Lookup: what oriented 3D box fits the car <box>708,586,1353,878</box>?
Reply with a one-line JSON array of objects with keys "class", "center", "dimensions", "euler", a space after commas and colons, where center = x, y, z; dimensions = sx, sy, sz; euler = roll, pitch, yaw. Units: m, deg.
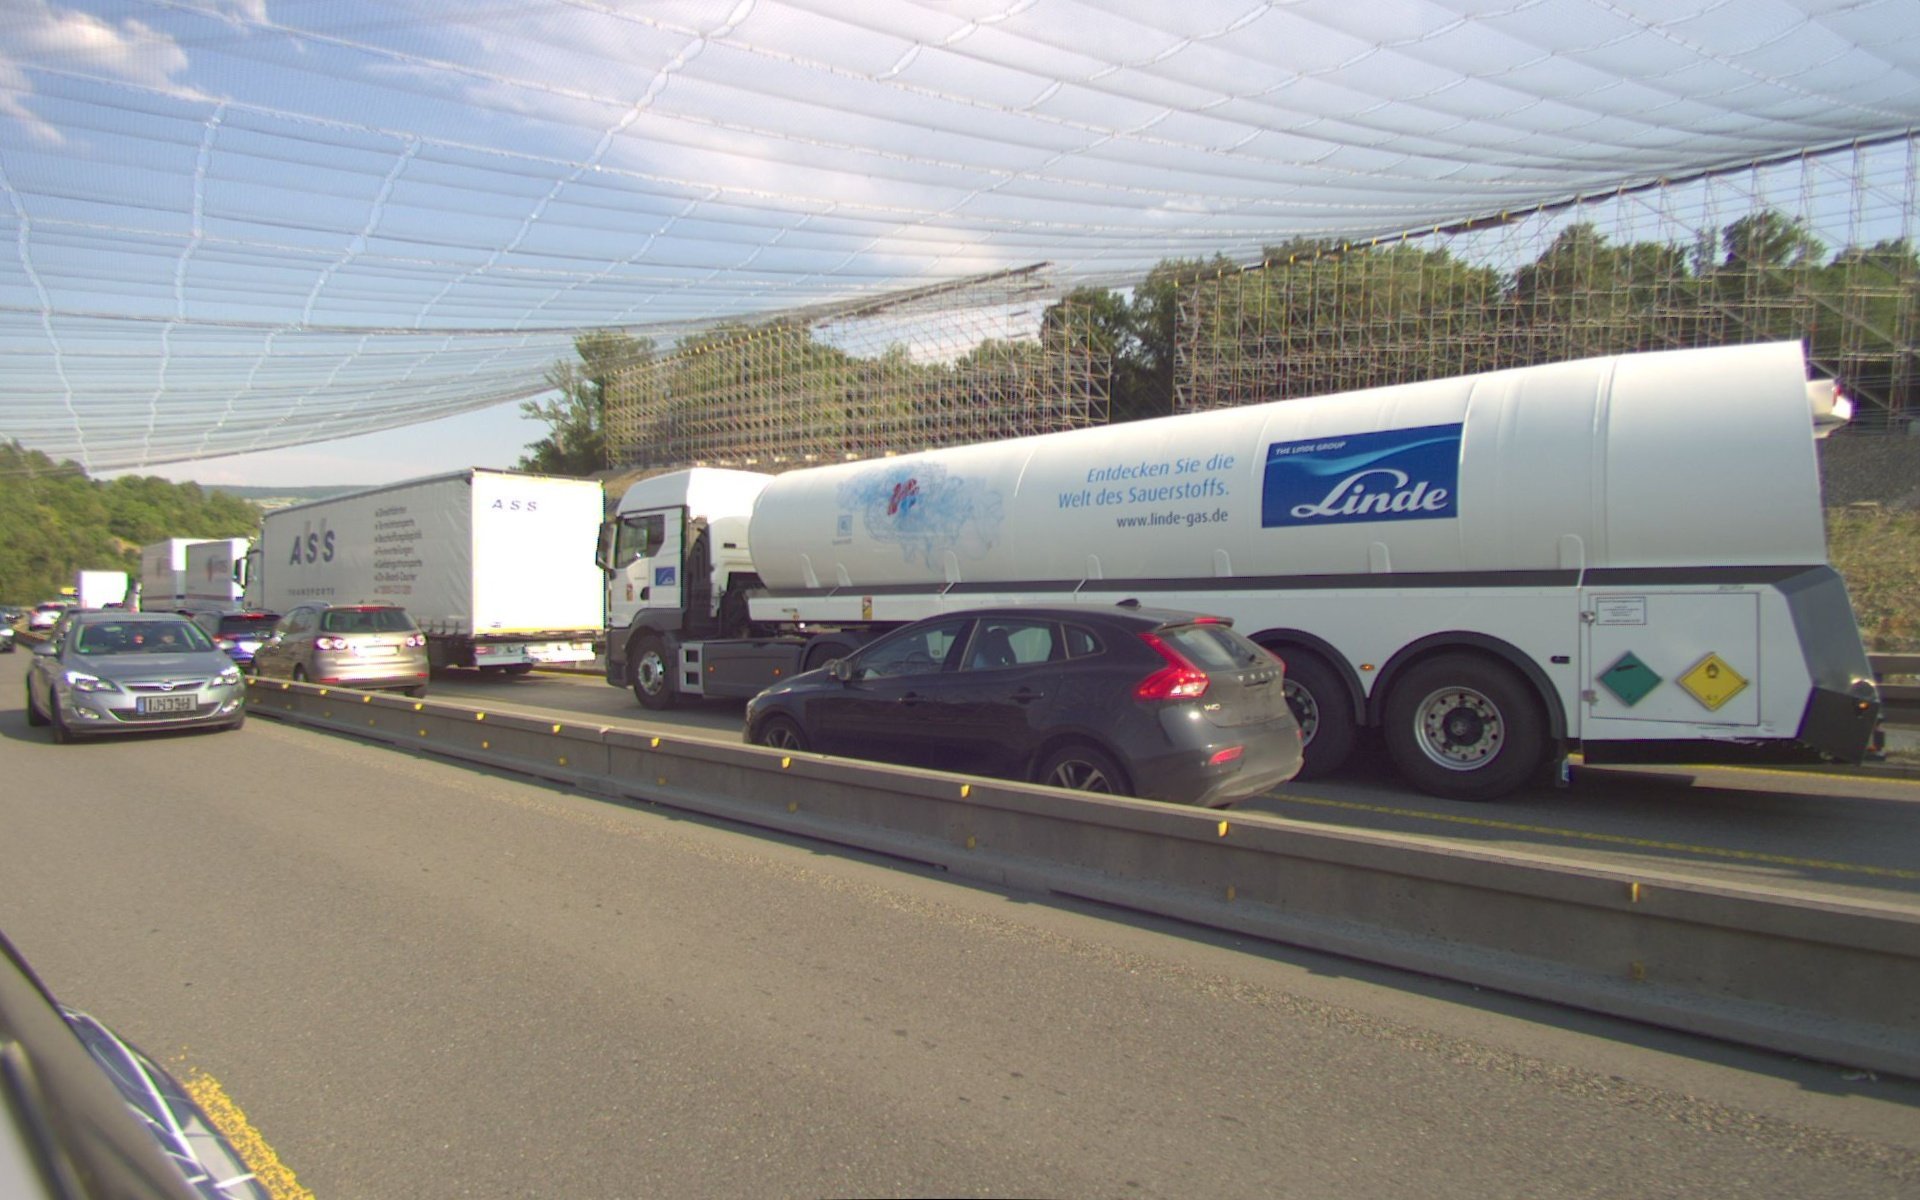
[{"class": "car", "center": [0.233, 0.657, 7.030], "dimensions": [4.385, 1.437, 1.611], "euler": [0, 0, 40]}]

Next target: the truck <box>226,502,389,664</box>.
[{"class": "truck", "center": [-18.276, -0.428, 28.233], "dimensions": [5.616, 4.076, 2.447], "euler": [0, 0, 42]}]

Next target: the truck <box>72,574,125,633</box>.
[{"class": "truck", "center": [-67.416, 0.282, 79.051], "dimensions": [2.689, 4.259, 14.184], "euler": [0, 0, -42]}]

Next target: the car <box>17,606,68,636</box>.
[{"class": "car", "center": [-51.218, 1.149, 56.484], "dimensions": [4.366, 1.580, 1.788], "euler": [0, 0, 44]}]

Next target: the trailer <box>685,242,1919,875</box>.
[{"class": "trailer", "center": [1.650, -0.201, 10.085], "dimensions": [12.049, 3.387, 2.282], "euler": [0, 0, 42]}]

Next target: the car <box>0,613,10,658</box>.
[{"class": "car", "center": [-32.314, 1.146, 33.065], "dimensions": [1.740, 1.394, 3.825], "euler": [0, 0, -45]}]

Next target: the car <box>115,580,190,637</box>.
[{"class": "car", "center": [-41.468, 0.420, 51.900], "dimensions": [2.216, 2.733, 7.086], "euler": [0, 0, -45]}]

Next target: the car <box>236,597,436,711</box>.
[{"class": "car", "center": [-10.112, 0.773, 16.287], "dimensions": [3.942, 1.599, 1.732], "euler": [0, 0, 42]}]

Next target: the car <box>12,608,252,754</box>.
[{"class": "car", "center": [-10.397, 0.852, 12.589], "dimensions": [4.353, 1.484, 1.737], "euler": [0, 0, 43]}]

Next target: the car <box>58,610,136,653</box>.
[{"class": "car", "center": [-30.086, 1.047, 35.243], "dimensions": [3.900, 1.386, 1.590], "euler": [0, 0, 42]}]

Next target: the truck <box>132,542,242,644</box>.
[{"class": "truck", "center": [-32.319, -0.259, 42.217], "dimensions": [7.207, 3.939, 2.601], "euler": [0, 0, 44]}]

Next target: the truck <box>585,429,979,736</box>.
[{"class": "truck", "center": [-2.647, -0.187, 13.948], "dimensions": [5.615, 3.395, 2.388], "euler": [0, 0, 42]}]

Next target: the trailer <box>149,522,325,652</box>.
[{"class": "trailer", "center": [-26.829, -0.386, 37.134], "dimensions": [13.333, 4.046, 2.641], "euler": [0, 0, 43]}]

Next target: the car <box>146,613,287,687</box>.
[{"class": "car", "center": [-16.199, 1.011, 21.968], "dimensions": [4.244, 1.408, 1.774], "euler": [0, 0, 44]}]

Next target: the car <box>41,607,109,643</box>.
[{"class": "car", "center": [-38.540, 1.050, 44.039], "dimensions": [4.663, 1.461, 1.758], "euler": [0, 0, 43]}]

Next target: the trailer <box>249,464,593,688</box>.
[{"class": "trailer", "center": [-13.245, -0.408, 23.643], "dimensions": [14.094, 3.993, 2.402], "euler": [0, 0, 42]}]
